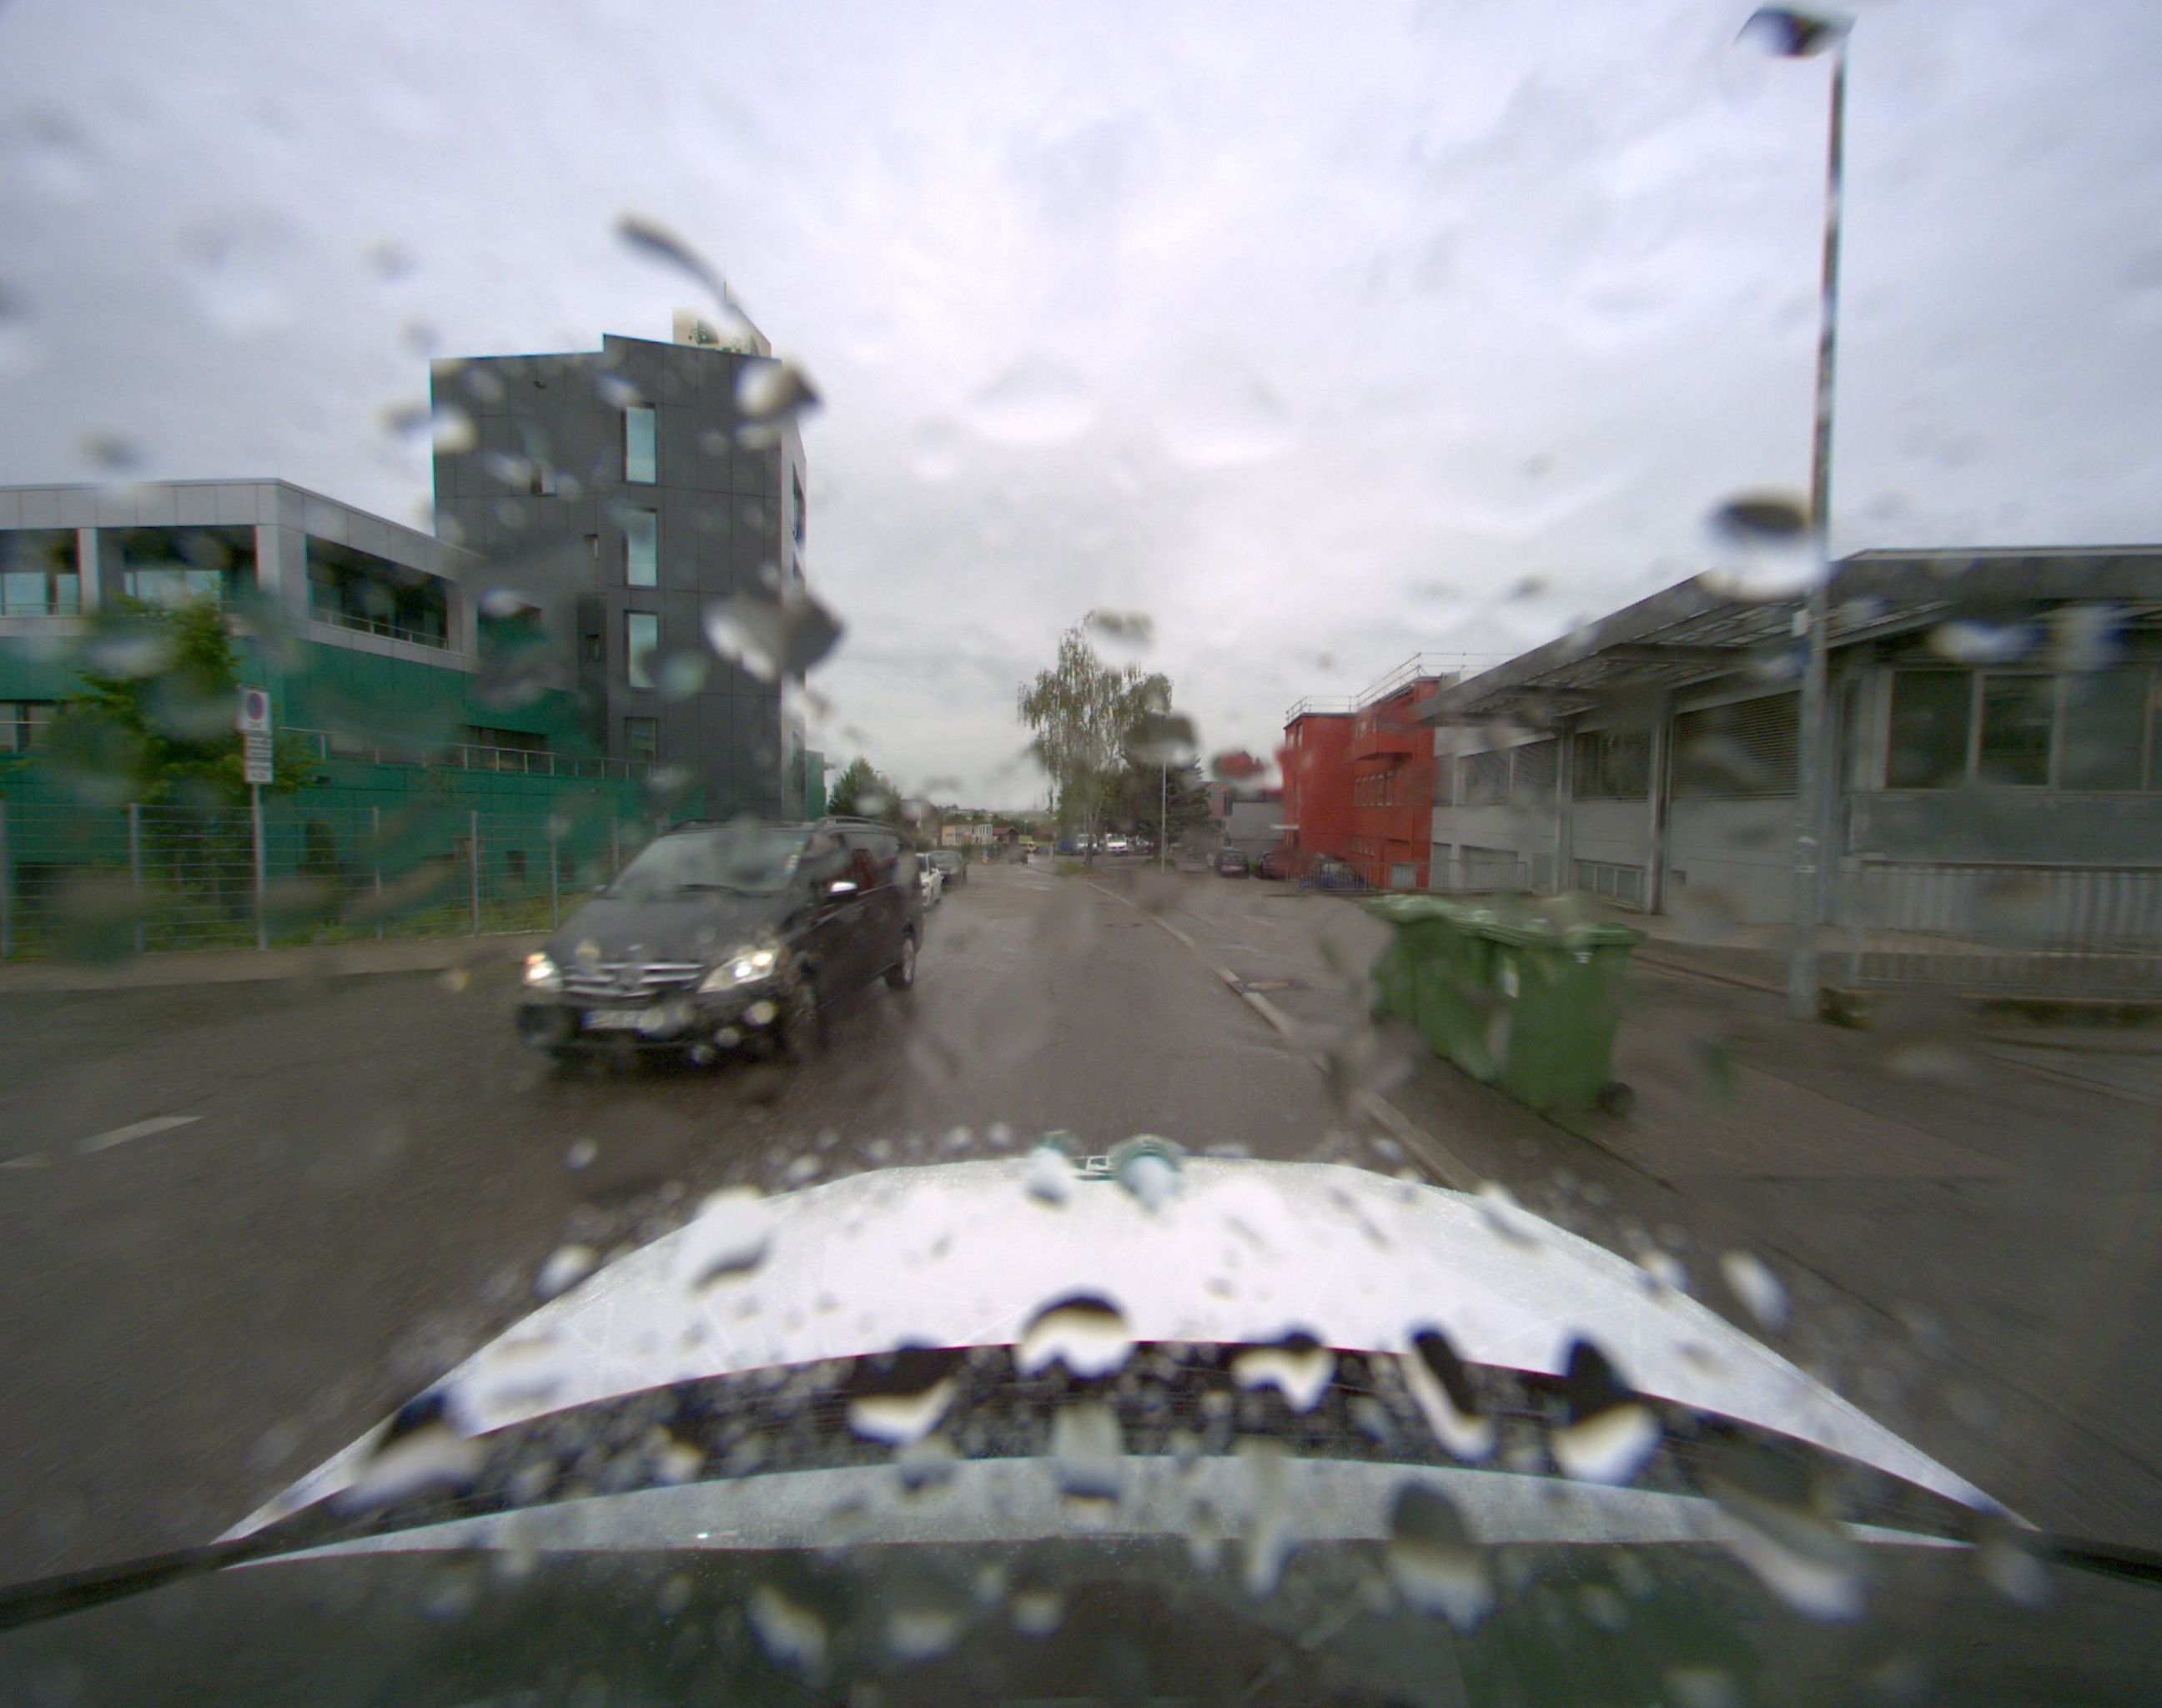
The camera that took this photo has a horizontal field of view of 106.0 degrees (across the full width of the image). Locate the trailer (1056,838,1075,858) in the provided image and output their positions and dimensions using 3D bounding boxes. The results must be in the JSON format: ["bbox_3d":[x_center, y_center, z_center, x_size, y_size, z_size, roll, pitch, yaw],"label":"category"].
[{"bbox_3d":[-1.603,-0.571,84.712,1.847,2.013,3.998,0,0,-1],"label":"trailer"}]

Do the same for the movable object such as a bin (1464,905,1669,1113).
[{"bbox_3d":[2.835,0.875,4.832,0.803,1.092,0.709,0,0,1],"label":"movable object such as a bin"}]

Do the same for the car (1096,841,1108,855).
[{"bbox_3d":[2.224,-0.605,86.383,1.286,1.424,2.545,0,-1,0],"label":"car"}]

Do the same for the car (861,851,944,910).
[{"bbox_3d":[-4.931,0.708,23.004,1.767,1.513,4.137,0,-1,-5],"label":"car"}]

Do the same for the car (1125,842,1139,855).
[{"bbox_3d":[5.454,-0.552,87.079,1.394,1.326,2.700,0,-1,0],"label":"car"}]

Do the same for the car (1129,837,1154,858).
[{"bbox_3d":[6.009,-0.653,81.346,2.139,2.014,3.938,0,-1,0],"label":"car"}]

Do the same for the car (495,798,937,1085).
[{"bbox_3d":[-2.899,0.583,8.000,1.878,1.886,5.074,-1,0,2],"label":"car"}]

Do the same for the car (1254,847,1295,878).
[{"bbox_3d":[10.720,0.477,45.387,1.730,1.653,4.006,0,-1,6],"label":"car"}]

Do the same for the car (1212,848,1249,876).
[{"bbox_3d":[8.208,0.458,45.010,1.688,1.475,4.006,0,-1,6],"label":"car"}]

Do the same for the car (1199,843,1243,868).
[{"bbox_3d":[8.986,0.121,52.464,2.059,1.552,3.997,0,-1,-2],"label":"car"}]

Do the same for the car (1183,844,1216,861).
[{"bbox_3d":[9.769,-0.120,67.116,2.539,1.352,1.242,0,0,1],"label":"car"}]

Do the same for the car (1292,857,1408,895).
[{"bbox_3d":[8.838,0.708,27.001,3.381,1.163,1.796,0,0,8],"label":"car"}]

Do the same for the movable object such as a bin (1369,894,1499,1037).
[{"bbox_3d":[2.847,0.882,6.623,0.806,1.076,0.582,0,0,1],"label":"movable object such as a bin"}]

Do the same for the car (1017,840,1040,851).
[{"bbox_3d":[-10.411,-1.655,161.431,4.212,2.226,2.006,0,-1,12],"label":"car"}]

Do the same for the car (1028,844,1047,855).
[{"bbox_3d":[-7.024,-0.660,132.512,2.000,1.704,3.972,1,-1,-20],"label":"car"}]

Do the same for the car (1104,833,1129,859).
[{"bbox_3d":[3.460,-0.723,80.634,2.187,2.459,3.996,0,-1,-2],"label":"car"}]

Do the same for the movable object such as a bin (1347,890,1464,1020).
[{"bbox_3d":[2.859,0.872,7.229,0.799,1.079,0.625,0,0,1],"label":"movable object such as a bin"}]

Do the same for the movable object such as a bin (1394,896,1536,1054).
[{"bbox_3d":[2.835,0.878,6.062,0.806,1.090,0.541,0,0,1],"label":"movable object such as a bin"}]

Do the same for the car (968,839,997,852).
[{"bbox_3d":[-14.482,-1.301,119.917,3.966,1.882,2.004,0,0,6],"label":"car"}]

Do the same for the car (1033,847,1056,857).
[{"bbox_3d":[-5.662,-0.255,126.781,2.469,1.539,3.972,1,-1,-21],"label":"car"}]

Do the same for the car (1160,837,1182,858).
[{"bbox_3d":[8.973,-0.641,81.478,1.775,2.014,3.631,0,-1,0],"label":"car"}]

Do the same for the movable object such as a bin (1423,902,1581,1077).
[{"bbox_3d":[2.808,0.880,5.487,0.772,1.076,0.584,0,0,1],"label":"movable object such as a bin"}]

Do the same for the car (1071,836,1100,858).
[{"bbox_3d":[0.433,-0.685,80.486,2.264,2.014,3.987,0,-1,-9],"label":"car"}]

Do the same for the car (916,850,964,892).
[{"bbox_3d":[-5.870,0.641,34.211,1.698,1.609,3.991,-1,1,-6],"label":"car"}]

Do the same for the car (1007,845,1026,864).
[{"bbox_3d":[-7.106,0.050,90.242,1.865,2.029,3.996,0,-1,-3],"label":"car"}]

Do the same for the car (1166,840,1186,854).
[{"bbox_3d":[10.151,-0.720,87.240,1.633,1.453,3.507,0,-1,-3],"label":"car"}]

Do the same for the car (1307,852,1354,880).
[{"bbox_3d":[13.531,0.647,44.322,1.720,1.422,4.006,0,-1,6],"label":"car"}]
